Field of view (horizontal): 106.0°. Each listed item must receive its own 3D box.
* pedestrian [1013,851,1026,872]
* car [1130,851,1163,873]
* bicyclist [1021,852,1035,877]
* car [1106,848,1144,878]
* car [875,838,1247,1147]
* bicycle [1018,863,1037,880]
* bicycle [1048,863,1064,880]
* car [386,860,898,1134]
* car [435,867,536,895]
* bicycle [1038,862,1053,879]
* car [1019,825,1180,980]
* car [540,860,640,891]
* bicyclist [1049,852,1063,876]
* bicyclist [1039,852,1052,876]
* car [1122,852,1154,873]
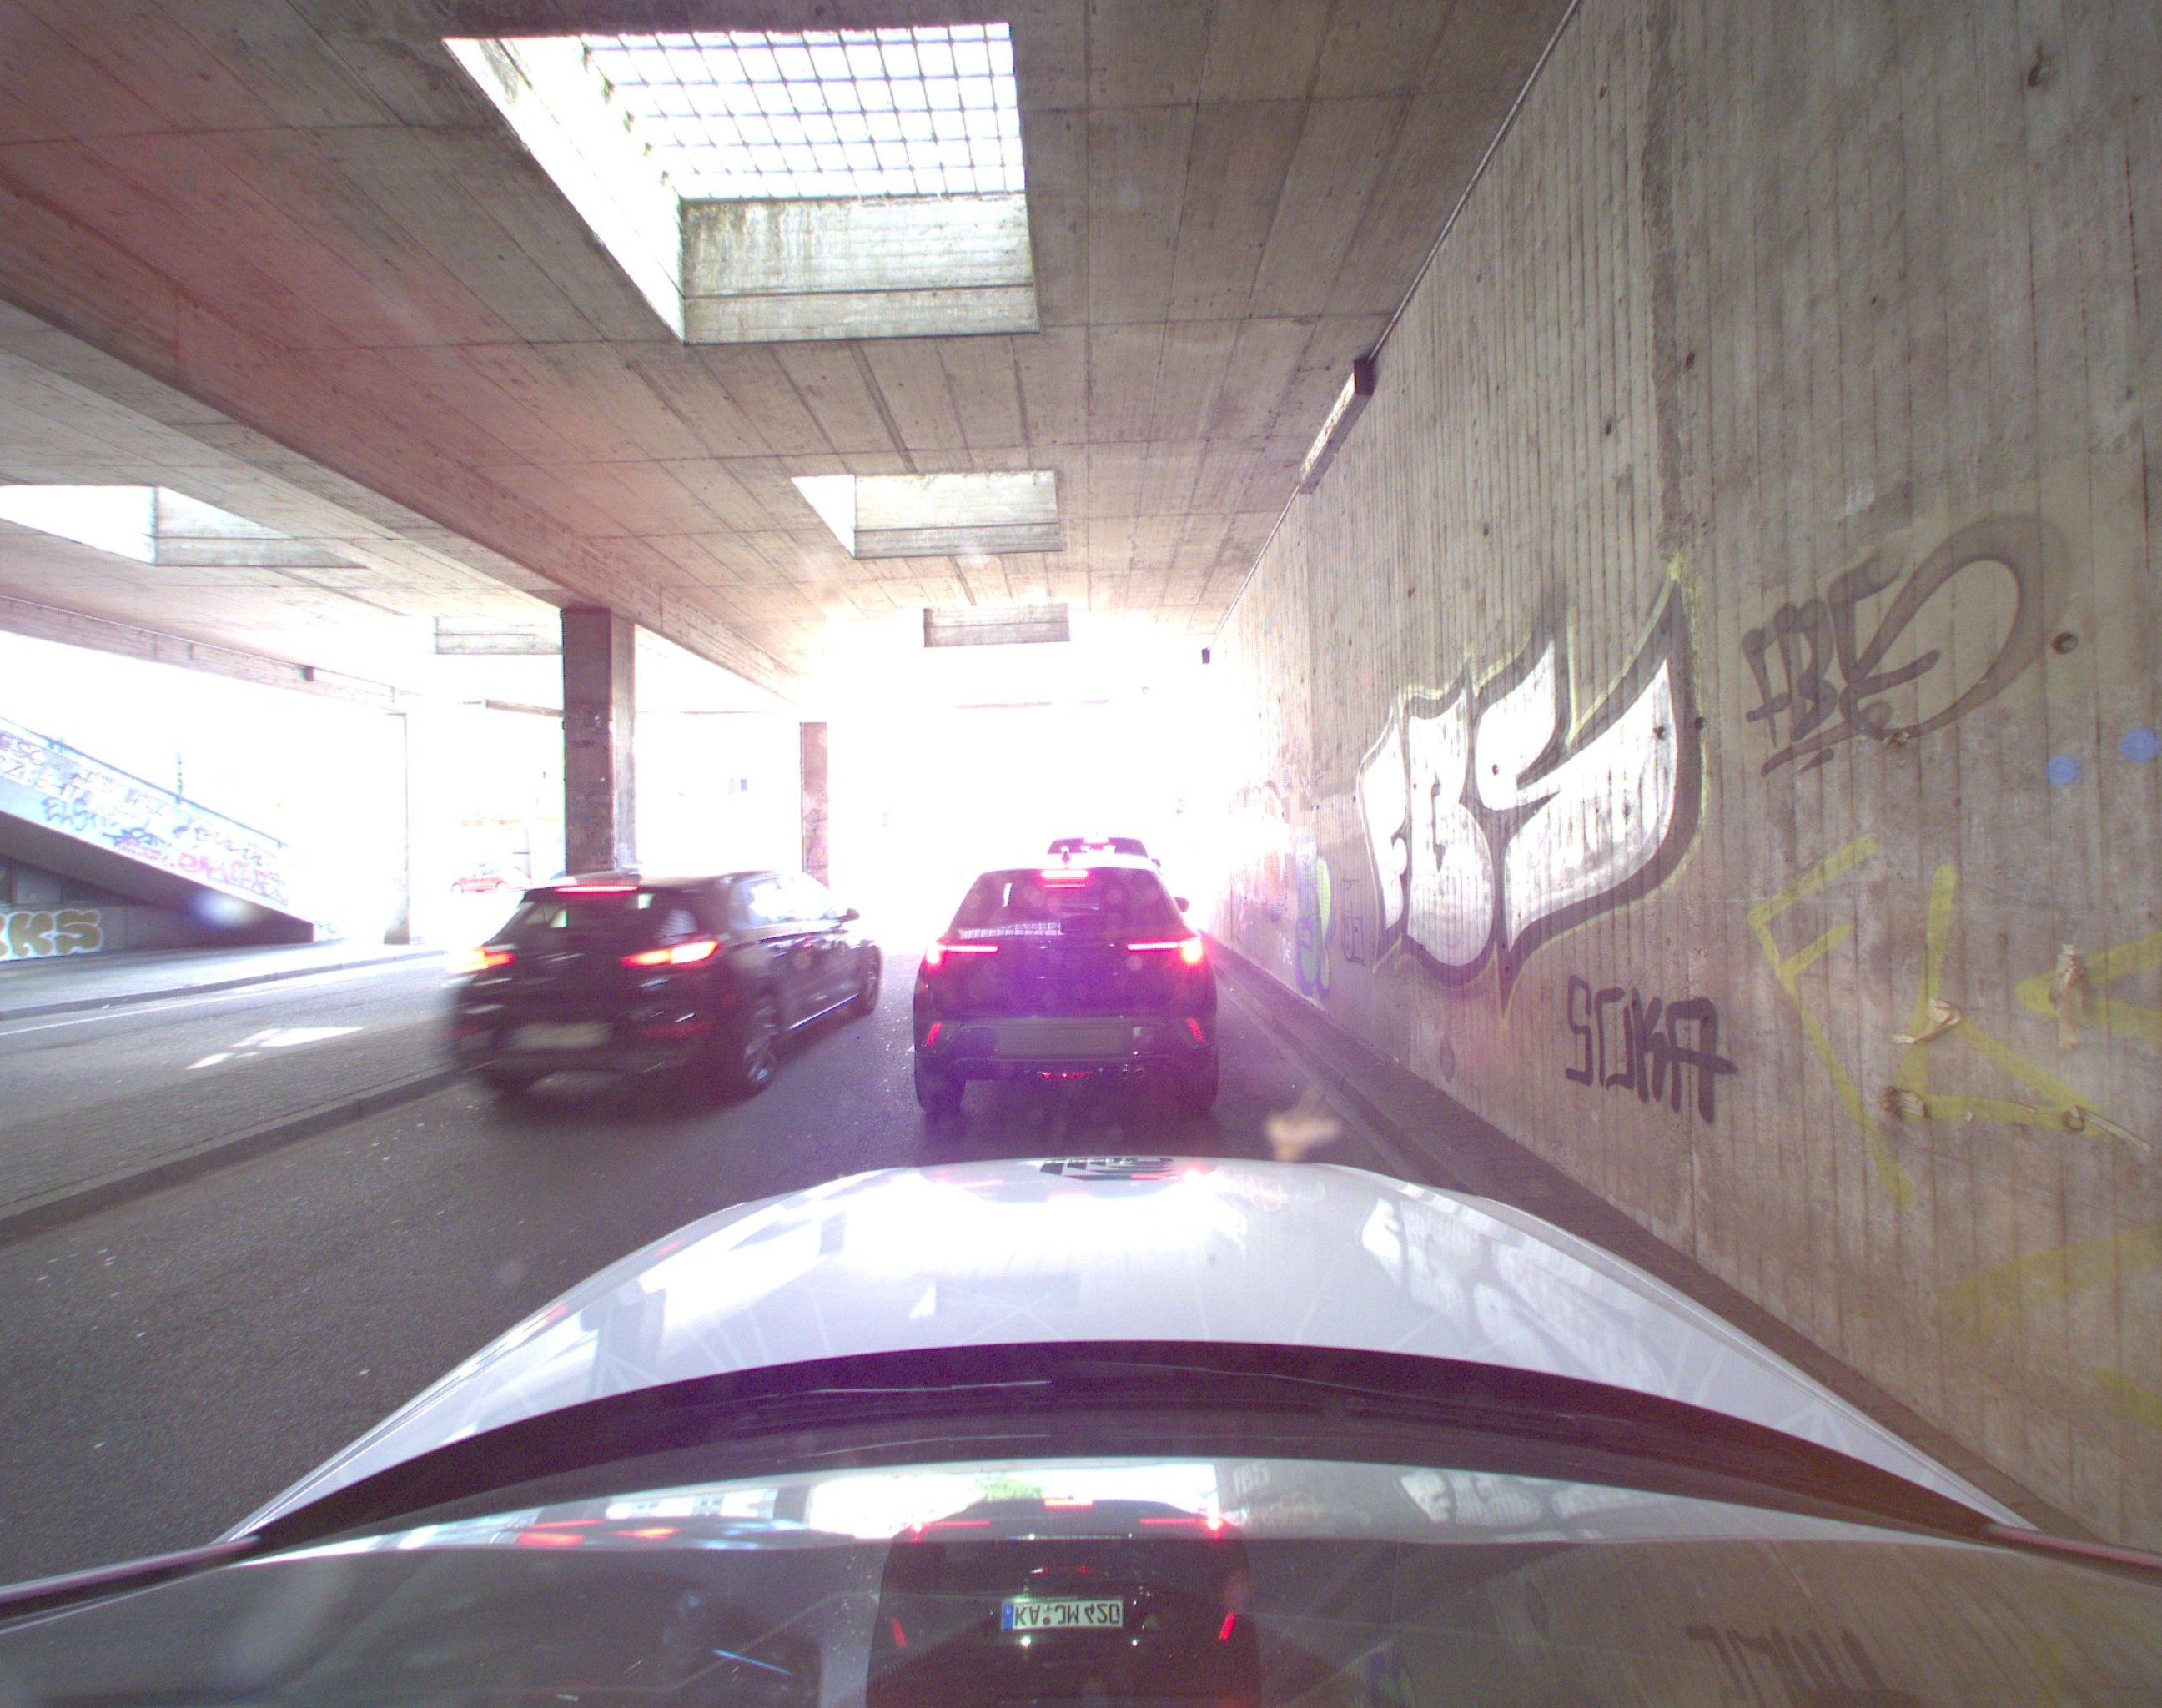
[{"bbox_3d":[-5.900,0.730,78.208,0.986,2.013,1.091,-2,0,10],"label":"pedestrian"},{"bbox_3d":[5.589,0.684,69.031,2.206,1.719,4.474,-2,-2,12],"label":"car"},{"bbox_3d":[-3.376,0.650,51.771,0.724,1.581,0.817,-1,-1,11],"label":"bicyclist"},{"bbox_3d":[2.411,0.501,44.260,1.959,1.497,3.900,-2,-2,4],"label":"car"},{"bbox_3d":[-0.042,0.714,6.181,1.875,1.538,3.966,-2,0,2],"label":"car"},{"bbox_3d":[-3.386,1.107,51.737,0.727,1.067,1.694,-1,-1,11],"label":"bicycle"},{"bbox_3d":[-1.592,1.097,52.294,0.621,1.067,1.694,-1,-1,11],"label":"bicycle"},{"bbox_3d":[-2.841,0.790,6.500,1.773,1.447,4.178,0,0,1],"label":"car"},{"bbox_3d":[-33.009,1.490,45.230,3.970,1.374,2.192,-2,0,3],"label":"car"},{"bbox_3d":[-2.388,1.110,54.773,0.621,1.067,1.694,-1,-1,11],"label":"bicycle"},{"bbox_3d":[0.290,0.597,12.001,1.938,1.860,3.966,-2,0,2],"label":"car"},{"bbox_3d":[-27.205,1.197,45.231,4.114,1.550,2.268,-2,0,1],"label":"car"},{"bbox_3d":[-1.595,0.640,52.300,0.724,1.581,0.817,-1,-1,11],"label":"bicyclist"},{"bbox_3d":[-2.378,0.666,54.814,0.724,1.581,0.817,-1,-1,11],"label":"bicyclist"},{"bbox_3d":[4.408,0.640,62.245,1.955,1.497,3.908,-2,-2,11],"label":"car"}]
